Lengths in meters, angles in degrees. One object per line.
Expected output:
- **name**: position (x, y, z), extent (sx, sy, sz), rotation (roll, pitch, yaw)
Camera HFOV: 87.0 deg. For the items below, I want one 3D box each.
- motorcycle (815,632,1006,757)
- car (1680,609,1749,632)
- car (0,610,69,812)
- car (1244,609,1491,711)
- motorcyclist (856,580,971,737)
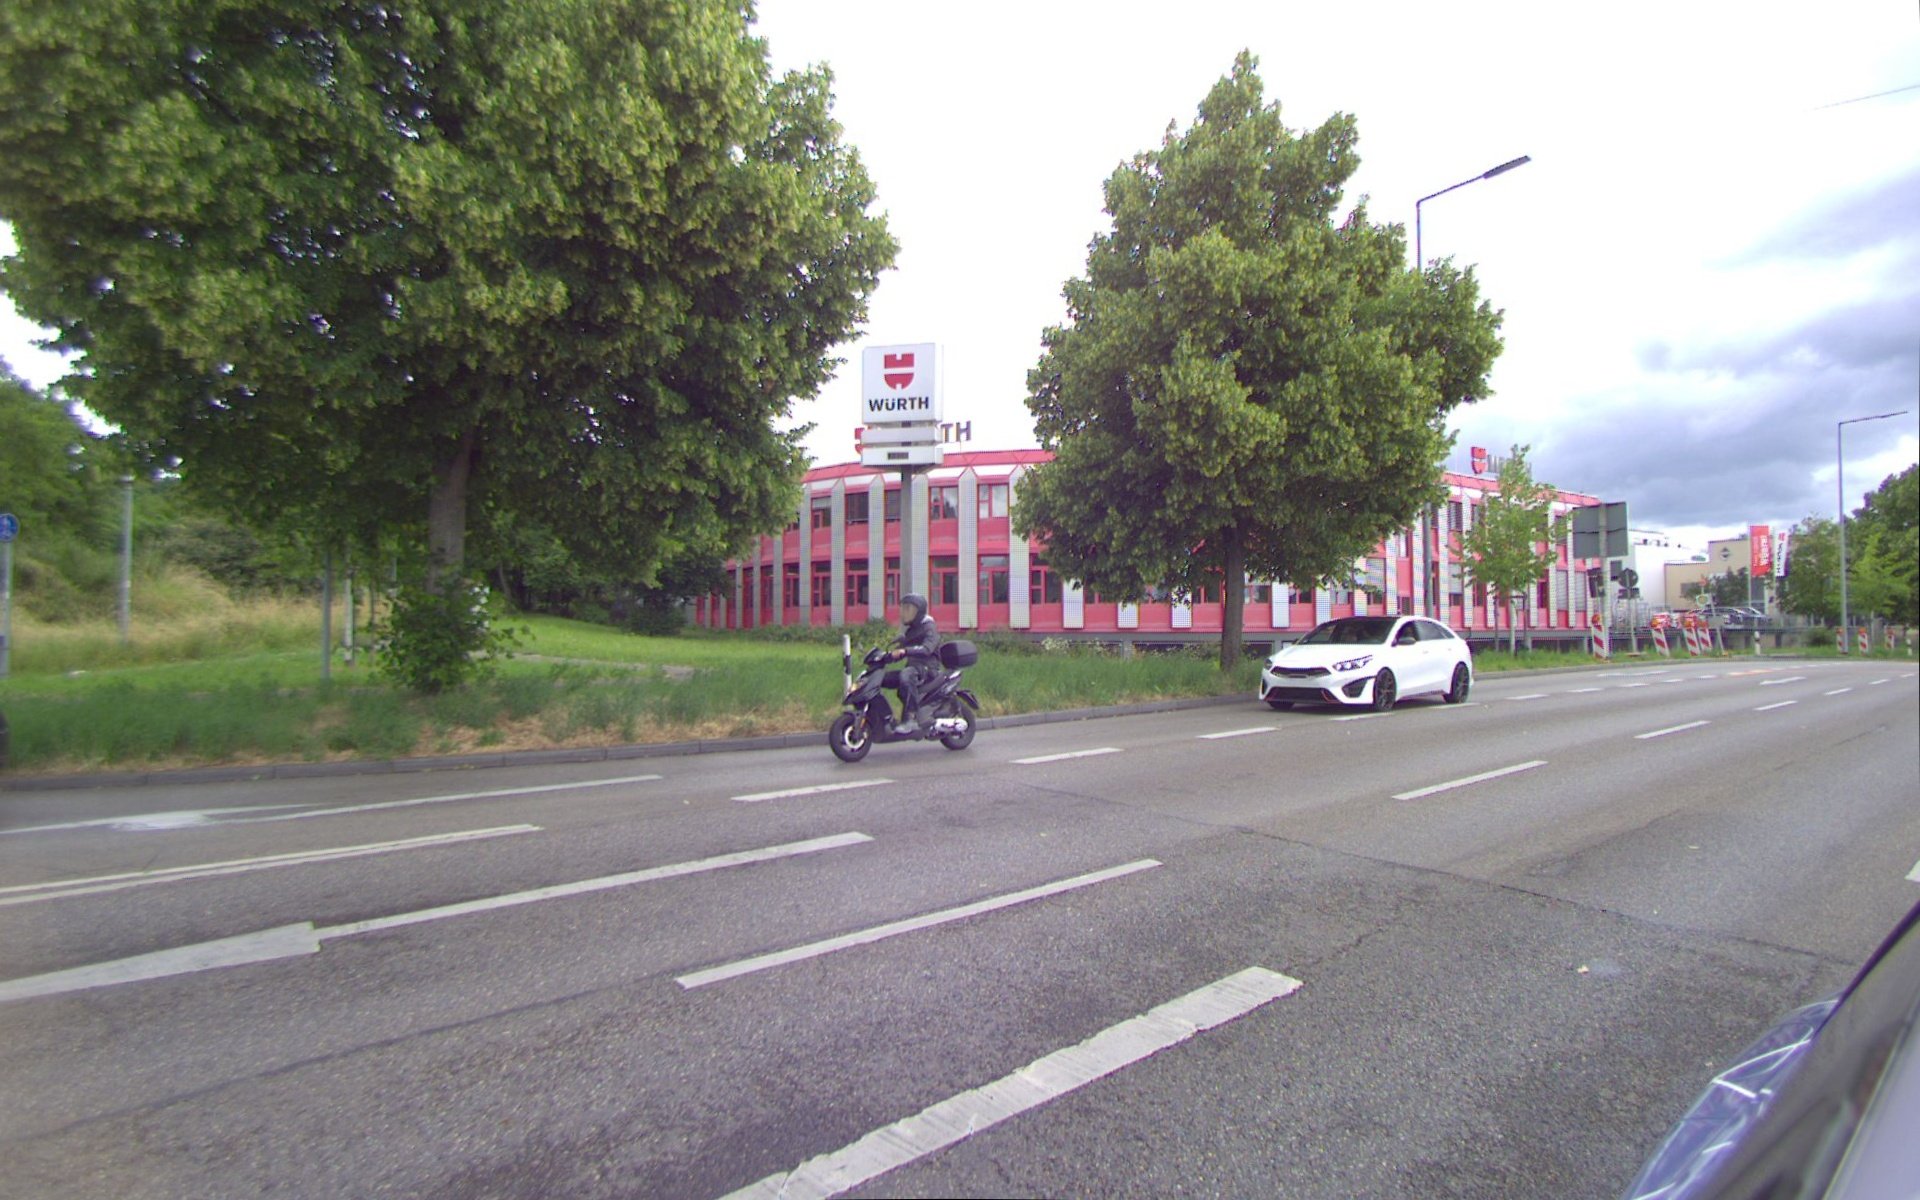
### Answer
- **motorcycle**: position (-0.475, 0.908, 10.362), extent (1.909, 1.162, 0.749), rotation (2, -3, -41)
- **car**: position (61.811, 1.694, 82.947), extent (1.752, 1.776, 4.247), rotation (0, 0, -39)
- **car**: position (-9.129, 0.771, 6.722), extent (4.432, 1.464, 1.790), rotation (1, 0, -19)
- **car**: position (6.449, 0.852, 15.778), extent (4.401, 1.380, 1.783), rotation (1, -2, -41)
- **motorcyclist**: position (-0.475, 0.583, 10.374), extent (0.917, 1.510, 0.749), rotation (2, -3, -41)
